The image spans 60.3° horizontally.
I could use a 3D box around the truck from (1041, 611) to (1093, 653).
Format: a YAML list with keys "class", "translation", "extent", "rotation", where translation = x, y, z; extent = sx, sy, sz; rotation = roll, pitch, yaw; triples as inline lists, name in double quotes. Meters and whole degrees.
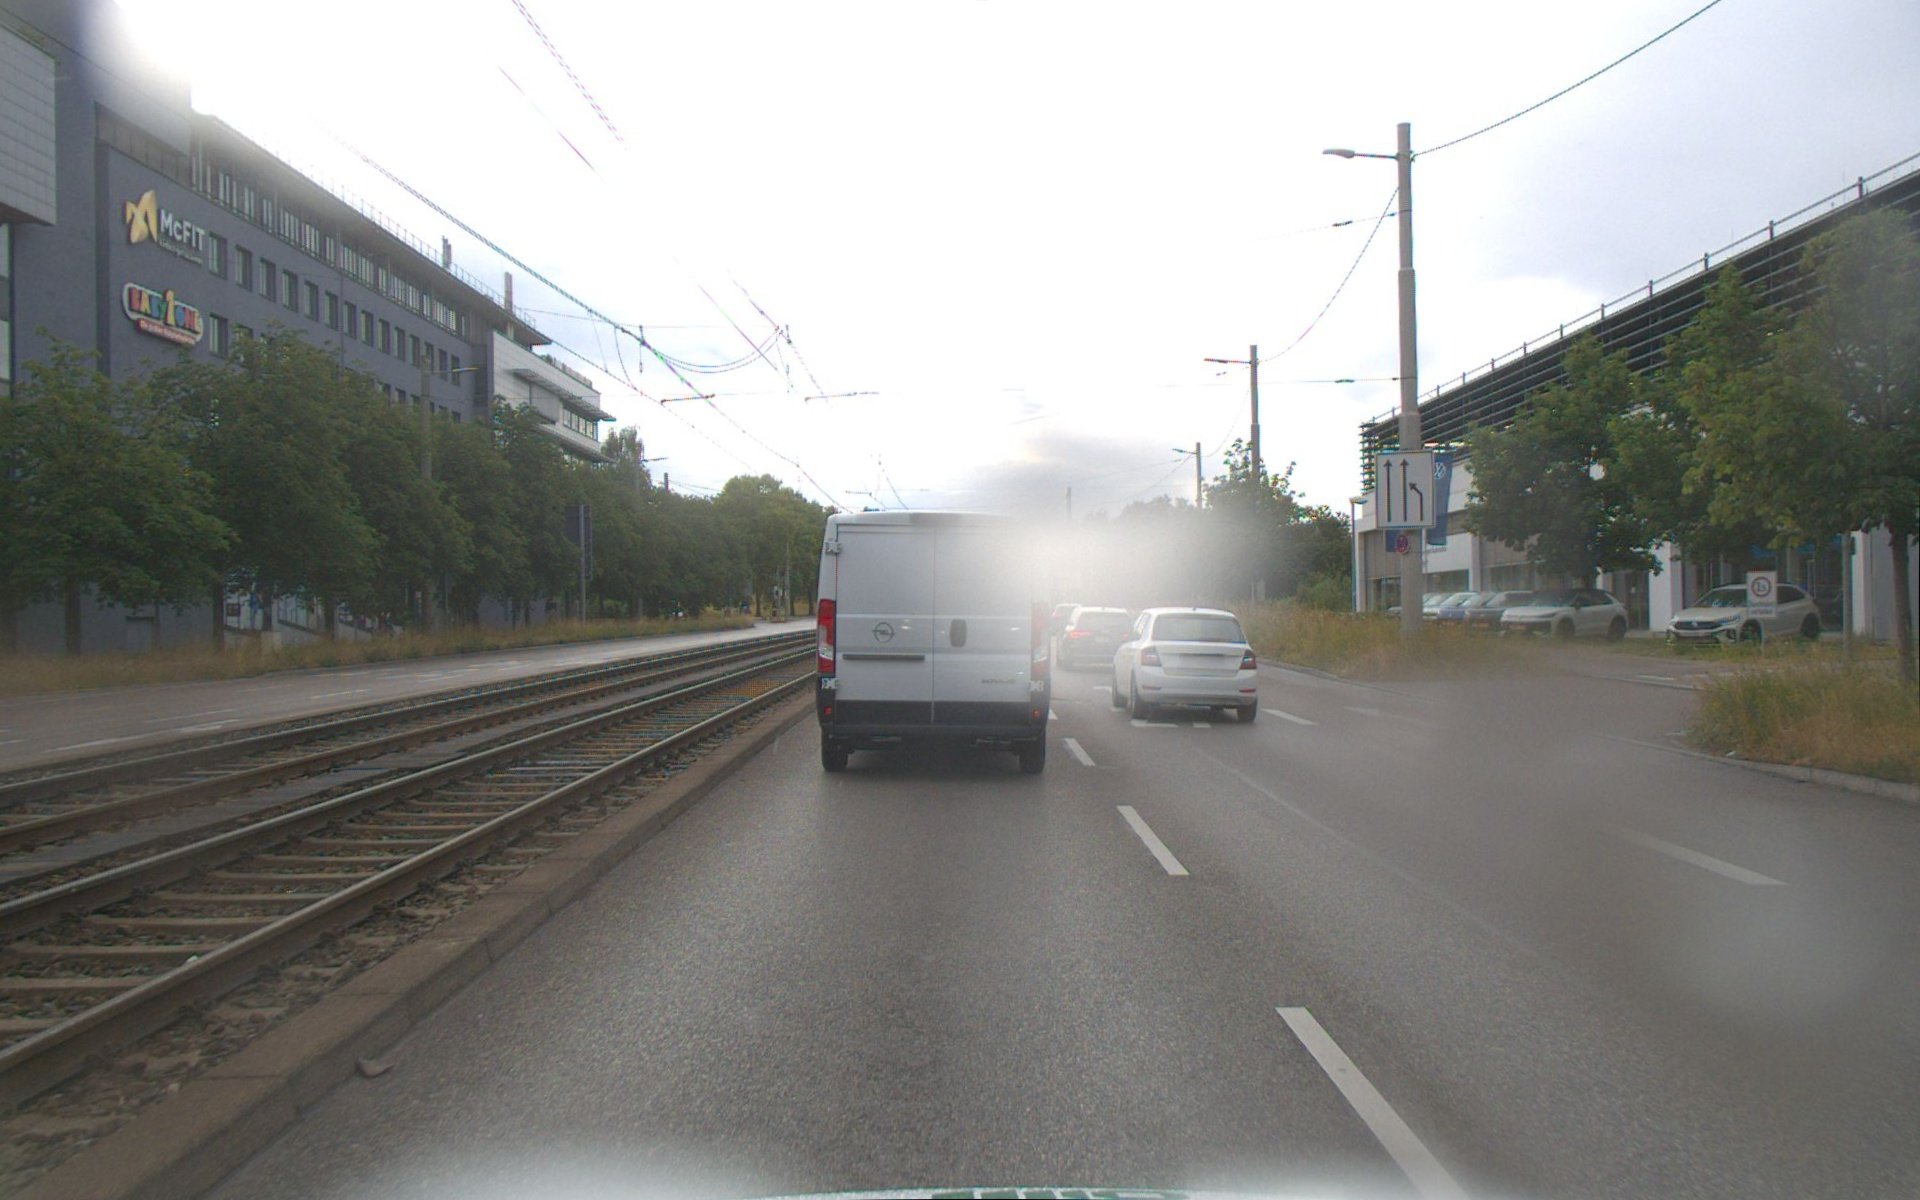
- class: "truck"
  translation: [4.957, 1.451, 77.100]
  extent: [1.953, 1.822, 4.412]
  rotation: [-1, 0, -2]

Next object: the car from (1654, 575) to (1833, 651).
- class: "car"
  translation: [17.521, 0.283, 36.958]
  extent: [4.049, 1.491, 1.728]
  rotation: [-2, -1, -33]

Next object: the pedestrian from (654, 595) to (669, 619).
- class: "pedestrian"
  translation: [-25.254, 0.587, 139.971]
  extent: [0.868, 2.049, 0.946]
  rotation: [-1, -1, 16]

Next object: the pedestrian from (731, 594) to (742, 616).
- class: "pedestrian"
  translation: [-21.427, 0.460, 158.655]
  extent: [0.868, 2.049, 0.866]
  rotation: [-1, -1, 5]

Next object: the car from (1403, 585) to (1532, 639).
- class: "car"
  translation: [17.700, 0.410, 57.635]
  extent: [4.295, 1.654, 1.838]
  rotation: [-2, -1, -30]

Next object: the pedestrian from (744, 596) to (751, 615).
- class: "pedestrian"
  translation: [-20.124, 0.546, 156.719]
  extent: [0.495, 1.818, 0.832]
  rotation: [1, -1, 6]

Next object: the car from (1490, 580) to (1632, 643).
- class: "car"
  translation: [16.873, 0.314, 46.372]
  extent: [4.056, 1.596, 1.776]
  rotation: [-2, -1, -37]

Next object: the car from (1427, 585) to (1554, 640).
- class: "car"
  translation: [17.345, 0.414, 53.985]
  extent: [4.142, 1.596, 1.777]
  rotation: [-2, -1, -35]

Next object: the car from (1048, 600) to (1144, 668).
- class: "car"
  translation: [3.060, 0.754, 37.860]
  extent: [1.753, 1.474, 3.999]
  rotation: [1, -1, -2]

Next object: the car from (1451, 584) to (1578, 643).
- class: "car"
  translation: [16.917, 0.395, 50.410]
  extent: [4.152, 1.596, 1.772]
  rotation: [-2, -1, -41]

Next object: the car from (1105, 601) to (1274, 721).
- class: "car"
  translation: [3.084, 0.778, 22.893]
  extent: [1.711, 1.483, 3.670]
  rotation: [2, 0, -1]

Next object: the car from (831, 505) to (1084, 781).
- class: "car"
  translation: [-0.031, 0.347, 16.179]
  extent: [2.048, 2.235, 5.060]
  rotation: [1, 0, 0]
